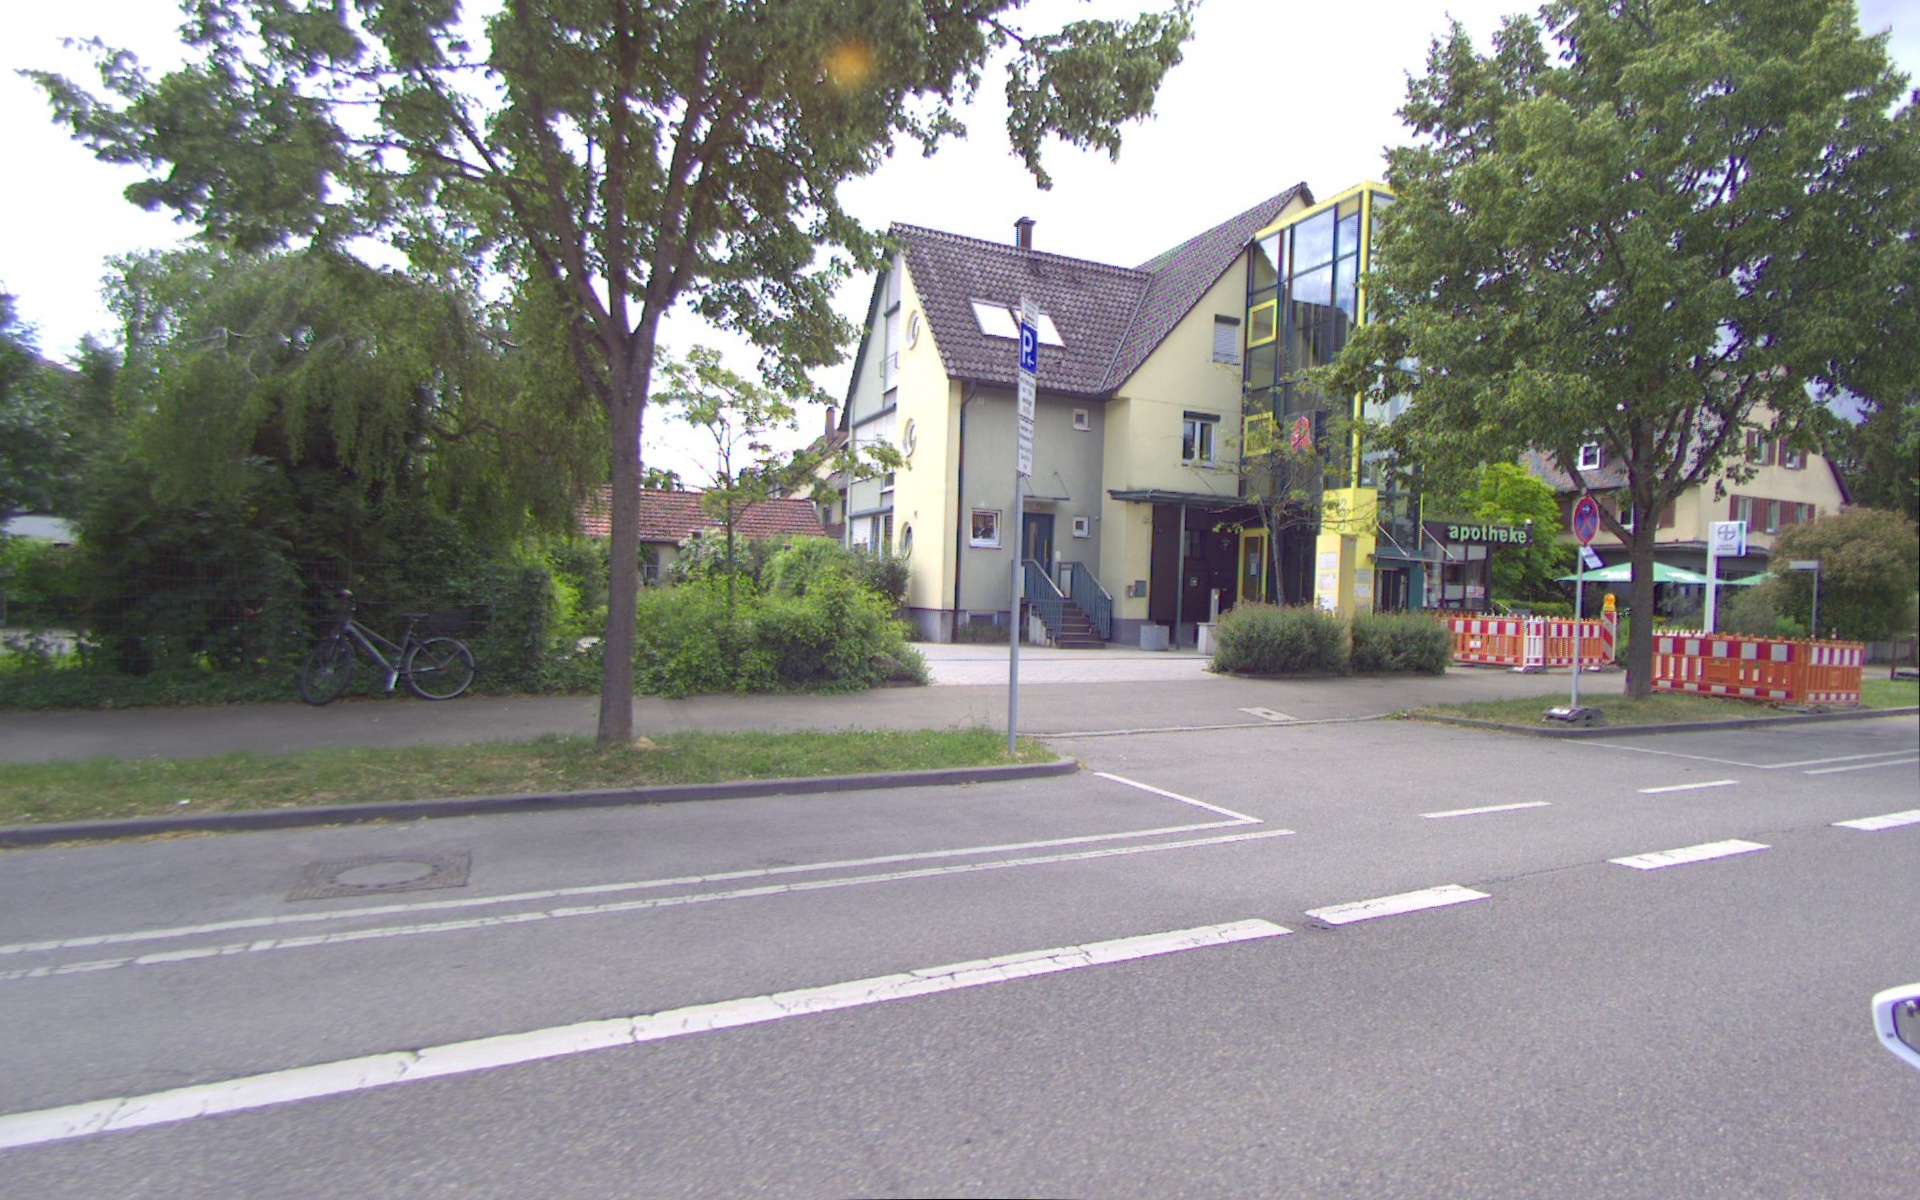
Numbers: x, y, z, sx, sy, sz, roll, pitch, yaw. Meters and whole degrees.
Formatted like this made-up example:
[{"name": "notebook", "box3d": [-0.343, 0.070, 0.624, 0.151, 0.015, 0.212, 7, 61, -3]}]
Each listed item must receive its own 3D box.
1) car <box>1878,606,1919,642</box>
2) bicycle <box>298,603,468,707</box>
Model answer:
[{"name": "car", "box3d": [49.676, 1.266, 51.115, 1.721, 1.793, 3.977, 2, 0, -23]}, {"name": "bicycle", "box3d": [-6.242, 0.582, 10.928, 1.564, 1.062, 0.460, 1, 1, -31]}]
